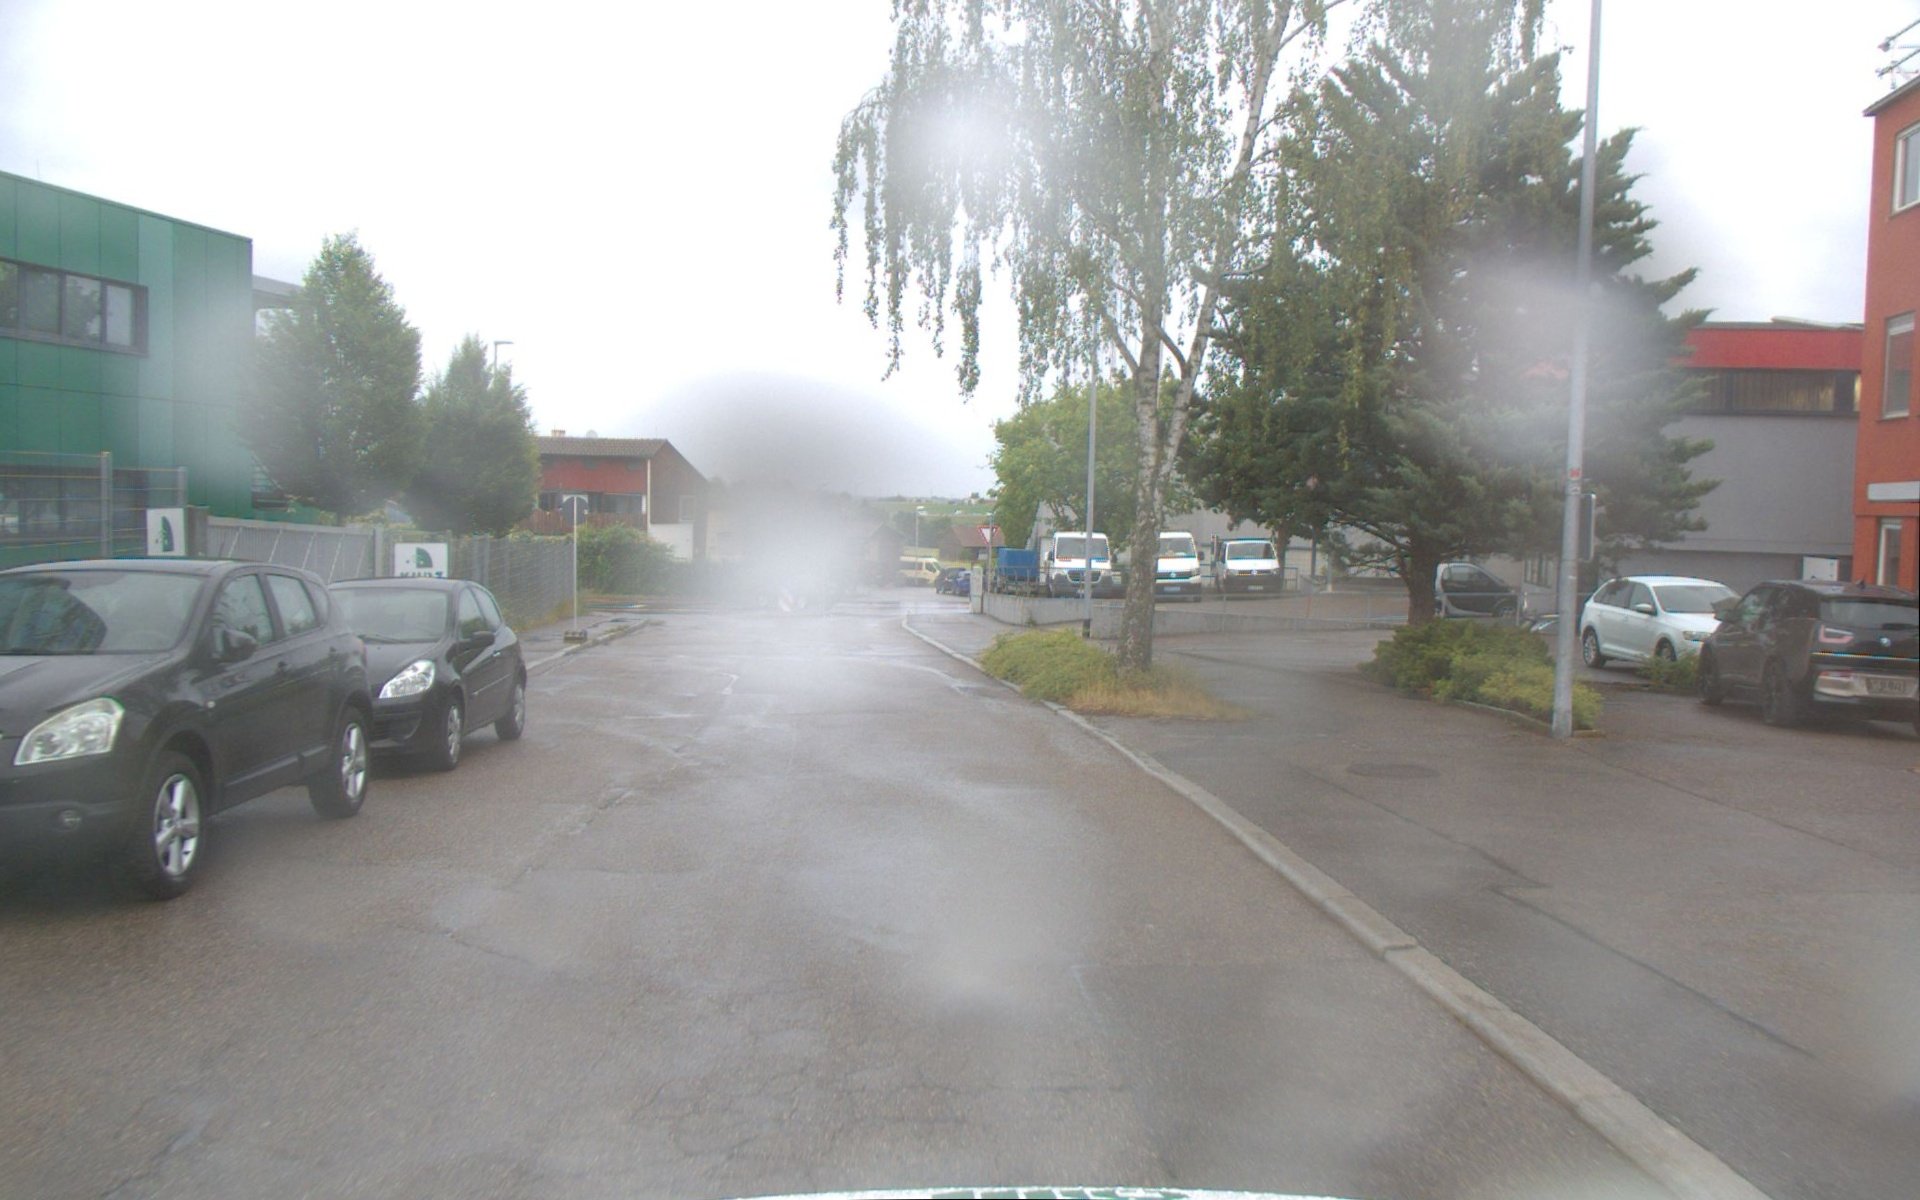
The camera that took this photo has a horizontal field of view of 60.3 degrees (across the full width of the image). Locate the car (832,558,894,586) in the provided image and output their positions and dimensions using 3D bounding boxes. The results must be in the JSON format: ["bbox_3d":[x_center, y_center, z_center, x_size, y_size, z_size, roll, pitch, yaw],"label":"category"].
[{"bbox_3d":[-6.997,-2.037,119.209,4.328,1.938,1.990,1,1,40],"label":"car"}]

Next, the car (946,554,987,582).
[{"bbox_3d":[0.375,-1.952,101.506,1.915,1.638,4.439,1,1,-8],"label":"car"}]

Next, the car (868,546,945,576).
[{"bbox_3d":[-4.438,-3.238,137.065,5.883,2.457,2.465,1,1,18],"label":"car"}]

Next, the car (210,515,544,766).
[{"bbox_3d":[-4.761,0.270,14.090,1.705,1.828,3.955,1,1,-5],"label":"car"}]

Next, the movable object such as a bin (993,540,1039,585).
[{"bbox_3d":[1.962,-1.309,57.996,1.282,1.526,1.855,1,1,-9],"label":"movable object such as a bin"}]

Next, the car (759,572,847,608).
[{"bbox_3d":[-7.077,-0.454,74.487,3.928,1.561,1.751,1,1,42],"label":"car"}]

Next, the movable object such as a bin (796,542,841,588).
[{"bbox_3d":[-8.159,-1.996,95.609,1.696,2.601,3.343,1,1,11],"label":"movable object such as a bin"}]

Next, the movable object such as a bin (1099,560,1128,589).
[{"bbox_3d":[5.590,-0.925,60.302,1.027,1.060,0.885,1,1,6],"label":"movable object such as a bin"}]

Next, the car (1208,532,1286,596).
[{"bbox_3d":[9.595,-1.194,55.705,2.013,2.049,4.941,1,1,3],"label":"car"}]

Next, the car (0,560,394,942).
[{"bbox_3d":[-4.481,0.581,8.875,1.599,1.585,4.083,0,1,-2],"label":"car"}]

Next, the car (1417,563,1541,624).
[{"bbox_3d":[12.741,-0.173,40.735,2.654,1.471,1.679,0,1,7],"label":"car"}]

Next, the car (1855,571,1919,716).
[{"bbox_3d":[12.257,0.536,19.215,1.947,1.707,4.516,1,1,11],"label":"car"}]

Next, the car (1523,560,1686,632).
[{"bbox_3d":[14.066,-0.104,36.206,2.971,1.521,1.631,0,1,5],"label":"car"}]

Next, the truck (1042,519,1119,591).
[{"bbox_3d":[3.973,-1.484,55.400,2.063,2.252,5.652,1,1,-1],"label":"truck"}]

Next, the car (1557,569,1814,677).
[{"bbox_3d":[10.965,0.279,25.384,1.866,1.496,4.327,0,1,-3],"label":"car"}]

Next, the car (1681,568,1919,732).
[{"bbox_3d":[9.925,0.493,19.084,1.953,1.606,4.516,3,1,11],"label":"car"}]

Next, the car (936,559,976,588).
[{"bbox_3d":[-0.282,-1.728,107.655,2.034,1.867,4.464,1,1,-7],"label":"car"}]

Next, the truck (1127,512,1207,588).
[{"bbox_3d":[6.828,-1.620,54.917,2.196,2.382,4.838,1,1,2],"label":"truck"}]
